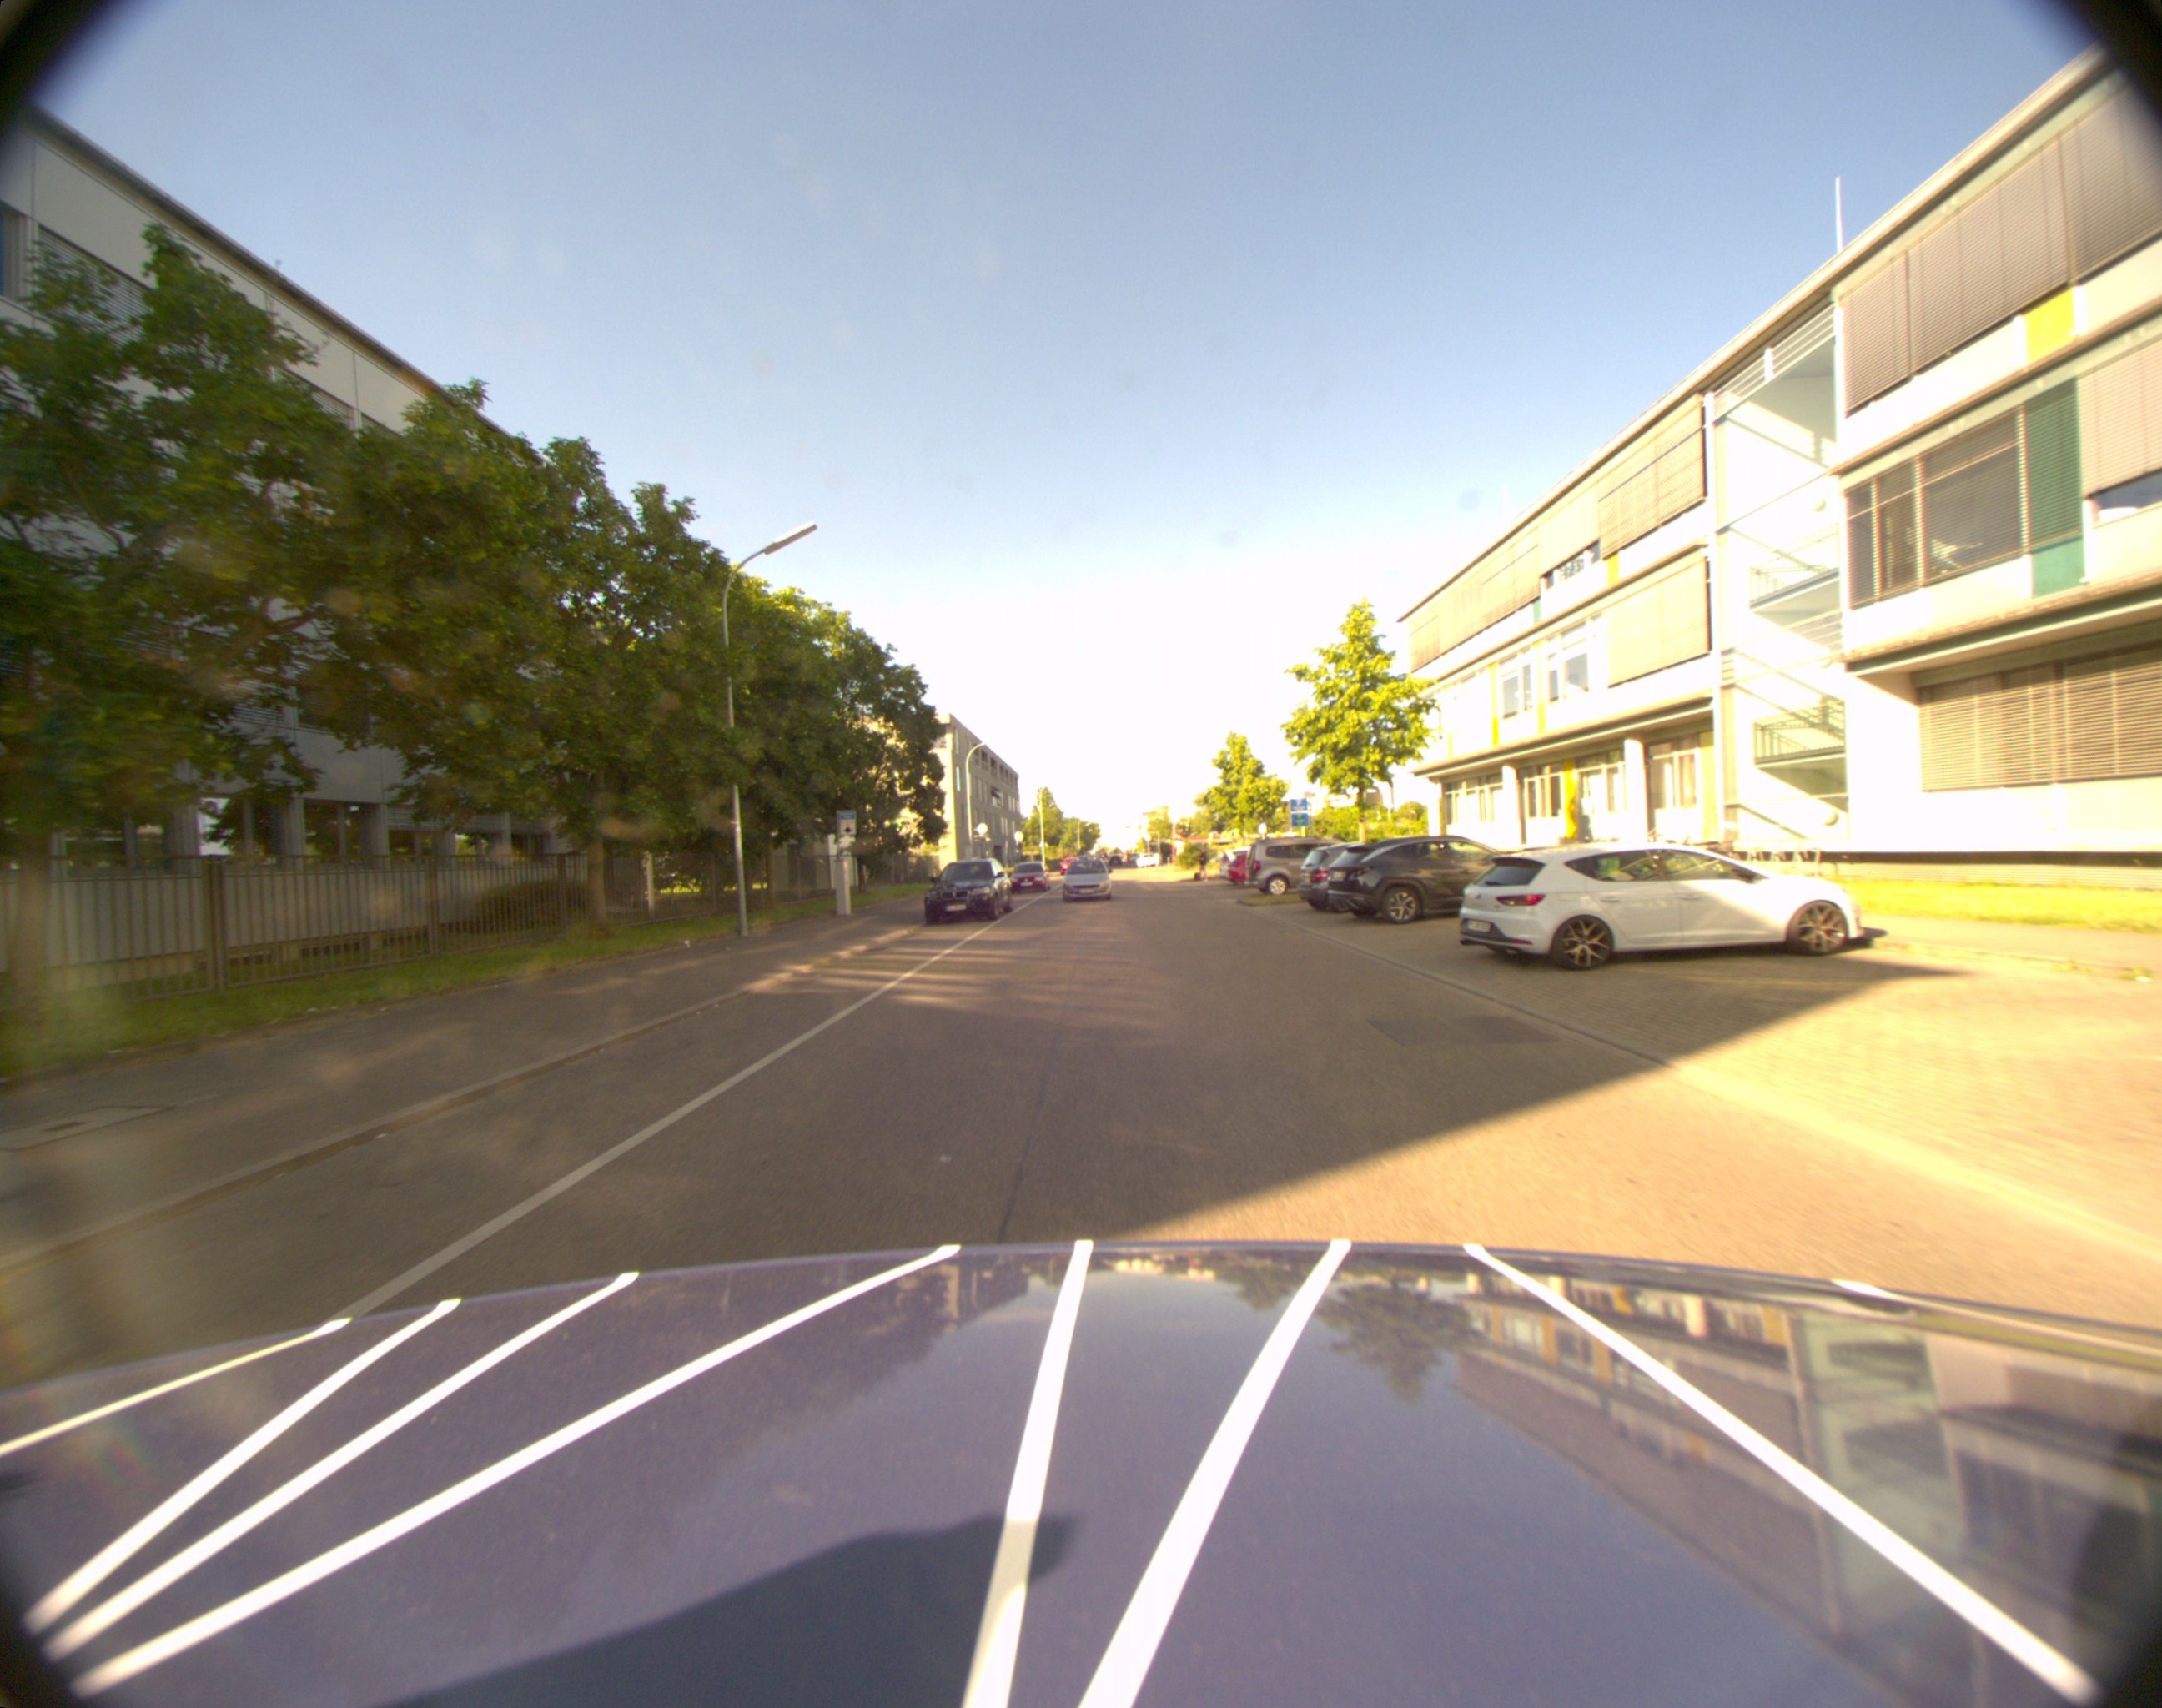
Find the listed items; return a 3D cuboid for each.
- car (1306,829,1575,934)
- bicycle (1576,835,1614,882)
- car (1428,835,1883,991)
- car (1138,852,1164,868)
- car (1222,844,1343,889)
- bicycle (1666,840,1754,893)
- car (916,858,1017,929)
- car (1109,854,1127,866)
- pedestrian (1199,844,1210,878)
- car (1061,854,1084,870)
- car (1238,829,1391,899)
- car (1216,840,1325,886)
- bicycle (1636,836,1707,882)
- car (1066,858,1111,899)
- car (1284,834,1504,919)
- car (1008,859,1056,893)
[{"bbox_3d":[7.021,0.497,15.180,4.360,1.618,1.999,-5,1,-2],"label":"car"},{"bbox_3d":[13.459,0.107,19.919,0.462,1.090,1.514,-4,3,22],"label":"bicycle"},{"bbox_3d":[6.751,0.640,9.288,4.101,1.414,1.823,-5,1,1],"label":"car"},{"bbox_3d":[6.989,0.552,76.210,1.999,1.499,3.998,-2,0,-4],"label":"car"},{"bbox_3d":[7.992,0.481,30.521,4.357,1.452,2.001,-4,1,7],"label":"car"},{"bbox_3d":[13.352,0.249,16.183,0.519,1.072,1.660,-2,0,2],"label":"bicycle"},{"bbox_3d":[-3.068,0.999,21.282,1.890,1.616,4.295,-4,0,2],"label":"car"},{"bbox_3d":[4.893,0.731,101.611,1.912,1.499,3.998,-2,0,-4],"label":"car"},{"bbox_3d":[6.611,0.371,40.688,0.369,1.712,0.479,-4,5,-1],"label":"pedestrian"},{"bbox_3d":[-0.828,0.714,69.506,1.999,1.382,3.999,-2,0,-2],"label":"car"},{"bbox_3d":[7.604,0.318,25.062,4.358,1.852,2.000,-5,0,3],"label":"car"},{"bbox_3d":[8.235,0.391,33.397,4.357,1.637,2.001,-4,1,7],"label":"car"},{"bbox_3d":[14.953,0.116,19.289,0.519,1.090,1.660,-2,0,2],"label":"bicycle"},{"bbox_3d":[0.302,0.866,28.266,1.551,1.389,3.454,-2,0,2],"label":"car"},{"bbox_3d":[7.387,0.504,18.262,4.360,1.581,2.000,-5,0,-2],"label":"car"},{"bbox_3d":[-2.368,1.036,37.708,1.824,1.435,4.295,-4,0,2],"label":"car"}]
